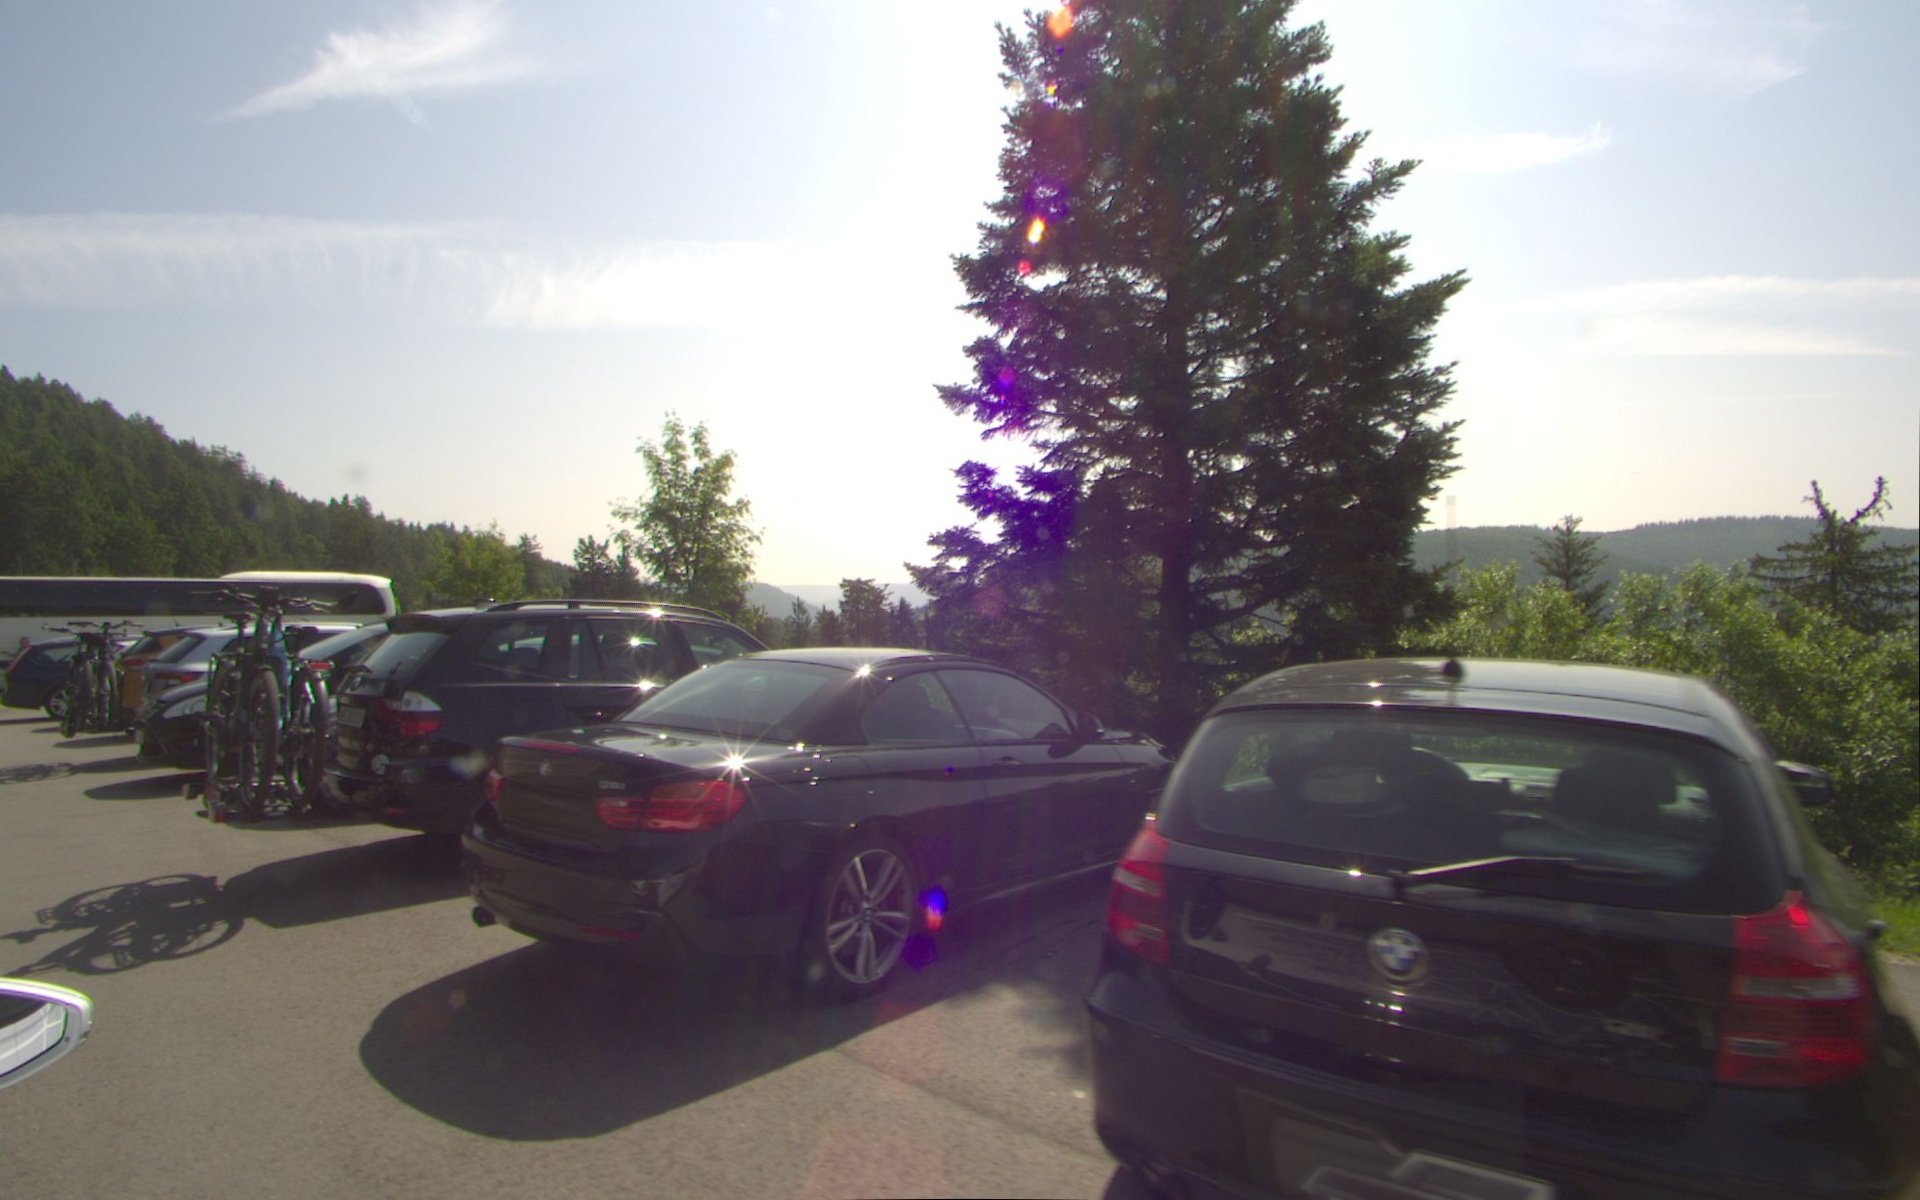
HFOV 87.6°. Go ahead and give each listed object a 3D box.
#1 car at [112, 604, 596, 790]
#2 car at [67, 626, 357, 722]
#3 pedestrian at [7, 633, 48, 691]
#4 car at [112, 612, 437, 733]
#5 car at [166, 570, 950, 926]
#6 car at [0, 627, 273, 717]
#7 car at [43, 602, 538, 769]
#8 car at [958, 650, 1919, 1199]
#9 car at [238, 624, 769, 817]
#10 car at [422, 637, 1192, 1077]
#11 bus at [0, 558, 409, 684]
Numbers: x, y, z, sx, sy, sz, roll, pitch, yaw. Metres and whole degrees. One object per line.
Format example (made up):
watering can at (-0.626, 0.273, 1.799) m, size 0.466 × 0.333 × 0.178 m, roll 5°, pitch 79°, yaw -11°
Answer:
car at (-6.461, 0.887, 11.047) m, size 1.818 × 1.574 × 4.219 m, roll -1°, pitch 0°, yaw 43°
car at (-13.402, 1.249, 18.122) m, size 1.603 × 1.417 × 3.964 m, roll -1°, pitch 0°, yaw 43°
pedestrian at (-26.821, 1.767, 28.826) m, size 0.763 × 1.606 × 0.767 m, roll -2°, pitch 1°, yaw -39°
car at (-10.679, 1.040, 15.821) m, size 1.642 × 1.574 × 3.964 m, roll -1°, pitch 0°, yaw 43°
car at (-2.503, 0.720, 7.261) m, size 1.926 × 1.718 × 4.917 m, roll -1°, pitch 0°, yaw 45°
car at (-16.195, 1.332, 19.837) m, size 1.841 × 1.468 × 3.964 m, roll -1°, pitch 0°, yaw 43°
car at (-8.397, 0.919, 12.983) m, size 2.026 × 1.673 × 5.005 m, roll -1°, pitch 0°, yaw 43°
car at (1.812, 0.889, 3.519) m, size 1.679 × 1.394 × 4.073 m, roll -1°, pitch -3°, yaw 34°
car at (-4.094, 0.939, 9.521) m, size 1.818 × 1.285 × 4.219 m, roll -1°, pitch 0°, yaw 43°
car at (-0.381, 0.907, 5.340) m, size 1.681 × 1.394 × 4.069 m, roll -1°, pitch -3°, yaw 37°
bus at (-25.207, 0.565, 31.975) m, size 12.974 × 3.579 × 3.021 m, roll -1°, pitch 0°, yaw -37°
